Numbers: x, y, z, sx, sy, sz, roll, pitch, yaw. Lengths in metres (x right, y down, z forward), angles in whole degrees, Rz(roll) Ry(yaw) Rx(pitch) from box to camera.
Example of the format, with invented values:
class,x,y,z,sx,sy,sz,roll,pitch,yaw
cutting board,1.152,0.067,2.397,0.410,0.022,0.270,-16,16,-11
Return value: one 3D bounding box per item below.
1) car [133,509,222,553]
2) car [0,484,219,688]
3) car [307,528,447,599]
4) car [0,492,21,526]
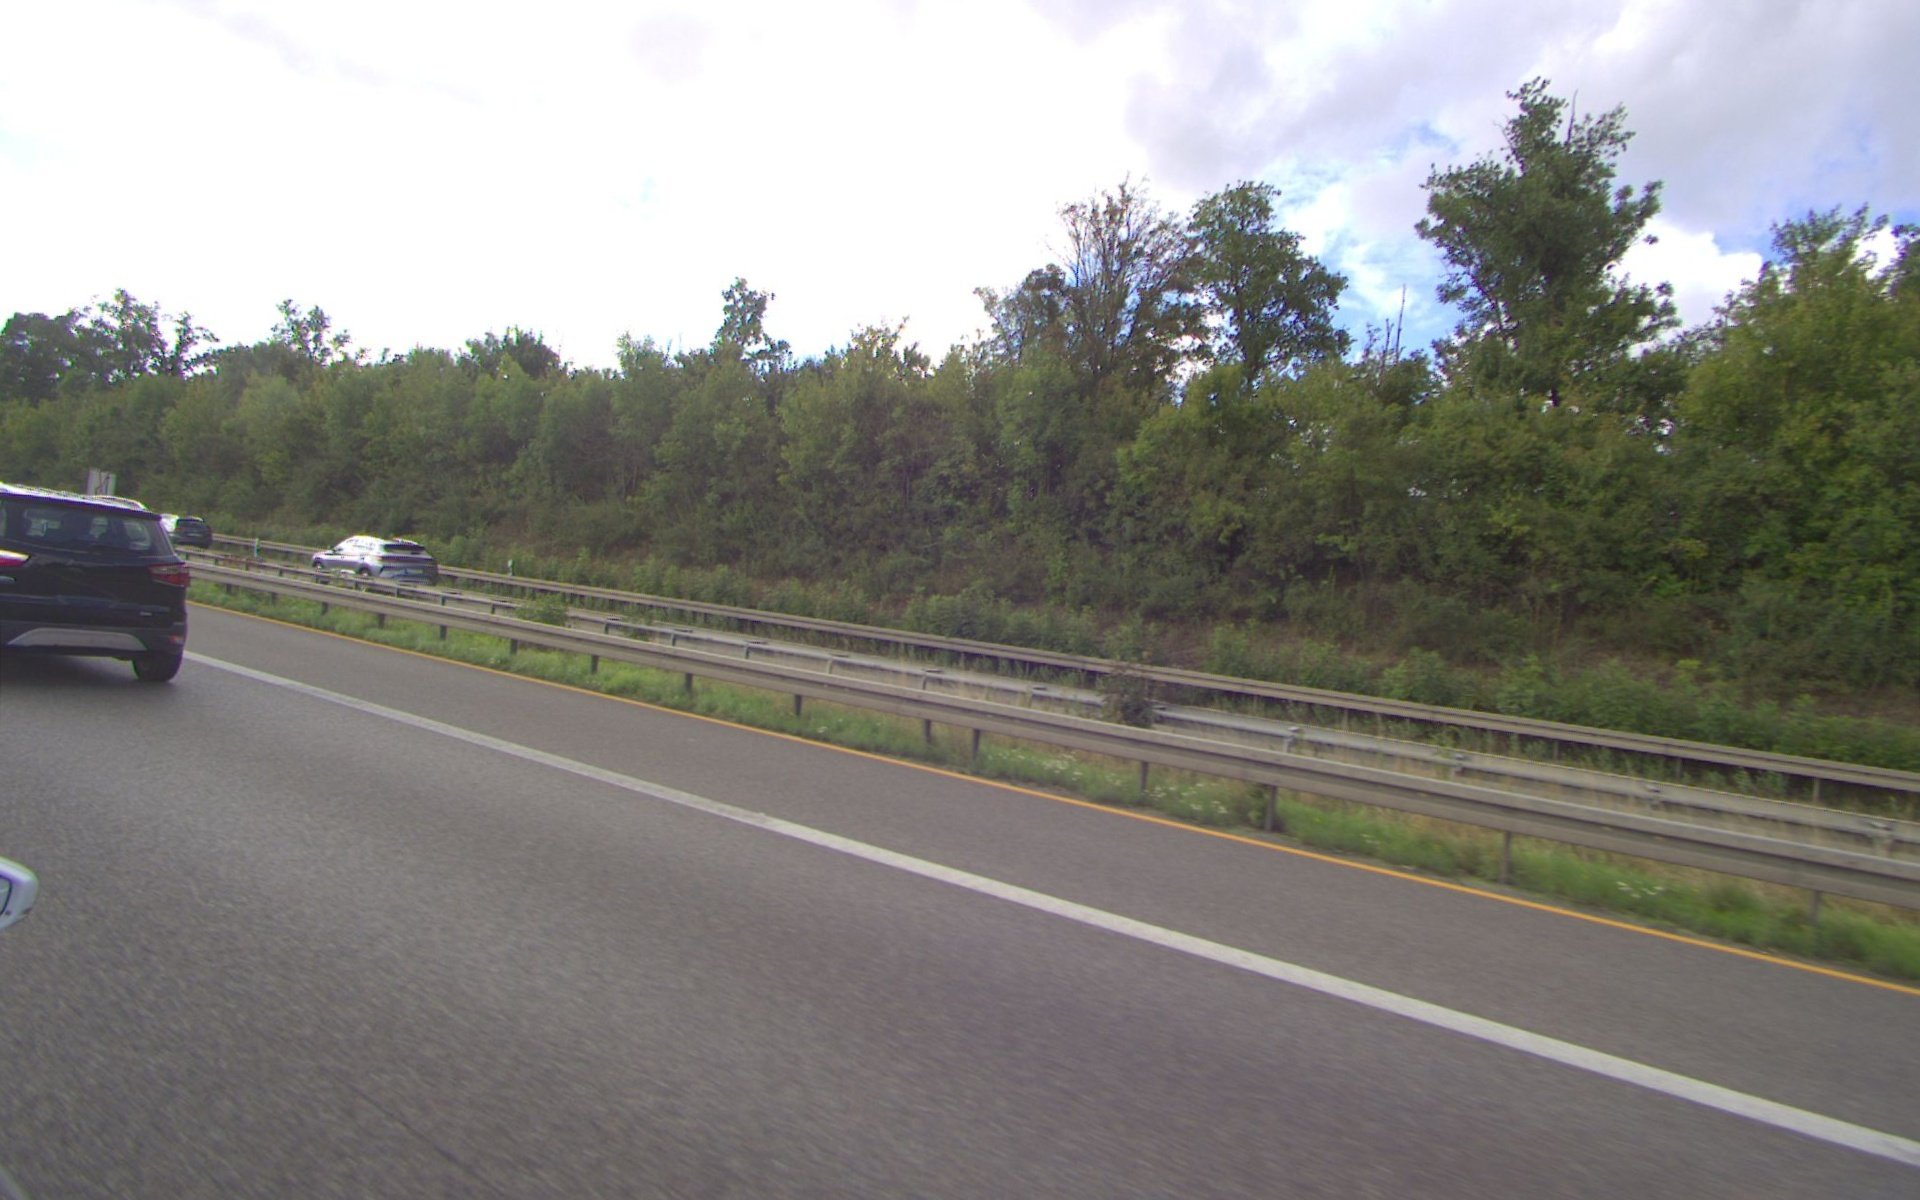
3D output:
class,x,y,z,sx,sy,sz,roll,pitch,yaw
car,-36.046,-3.196,46.312,4.233,1.566,1.730,7,1,30
car,-8.921,-0.258,9.402,4.045,1.583,1.700,7,-1,31
car,-17.851,-1.115,30.741,4.234,1.671,1.848,7,1,32
car,-49.479,-4.757,50.966,4.119,1.564,1.598,6,-1,30
